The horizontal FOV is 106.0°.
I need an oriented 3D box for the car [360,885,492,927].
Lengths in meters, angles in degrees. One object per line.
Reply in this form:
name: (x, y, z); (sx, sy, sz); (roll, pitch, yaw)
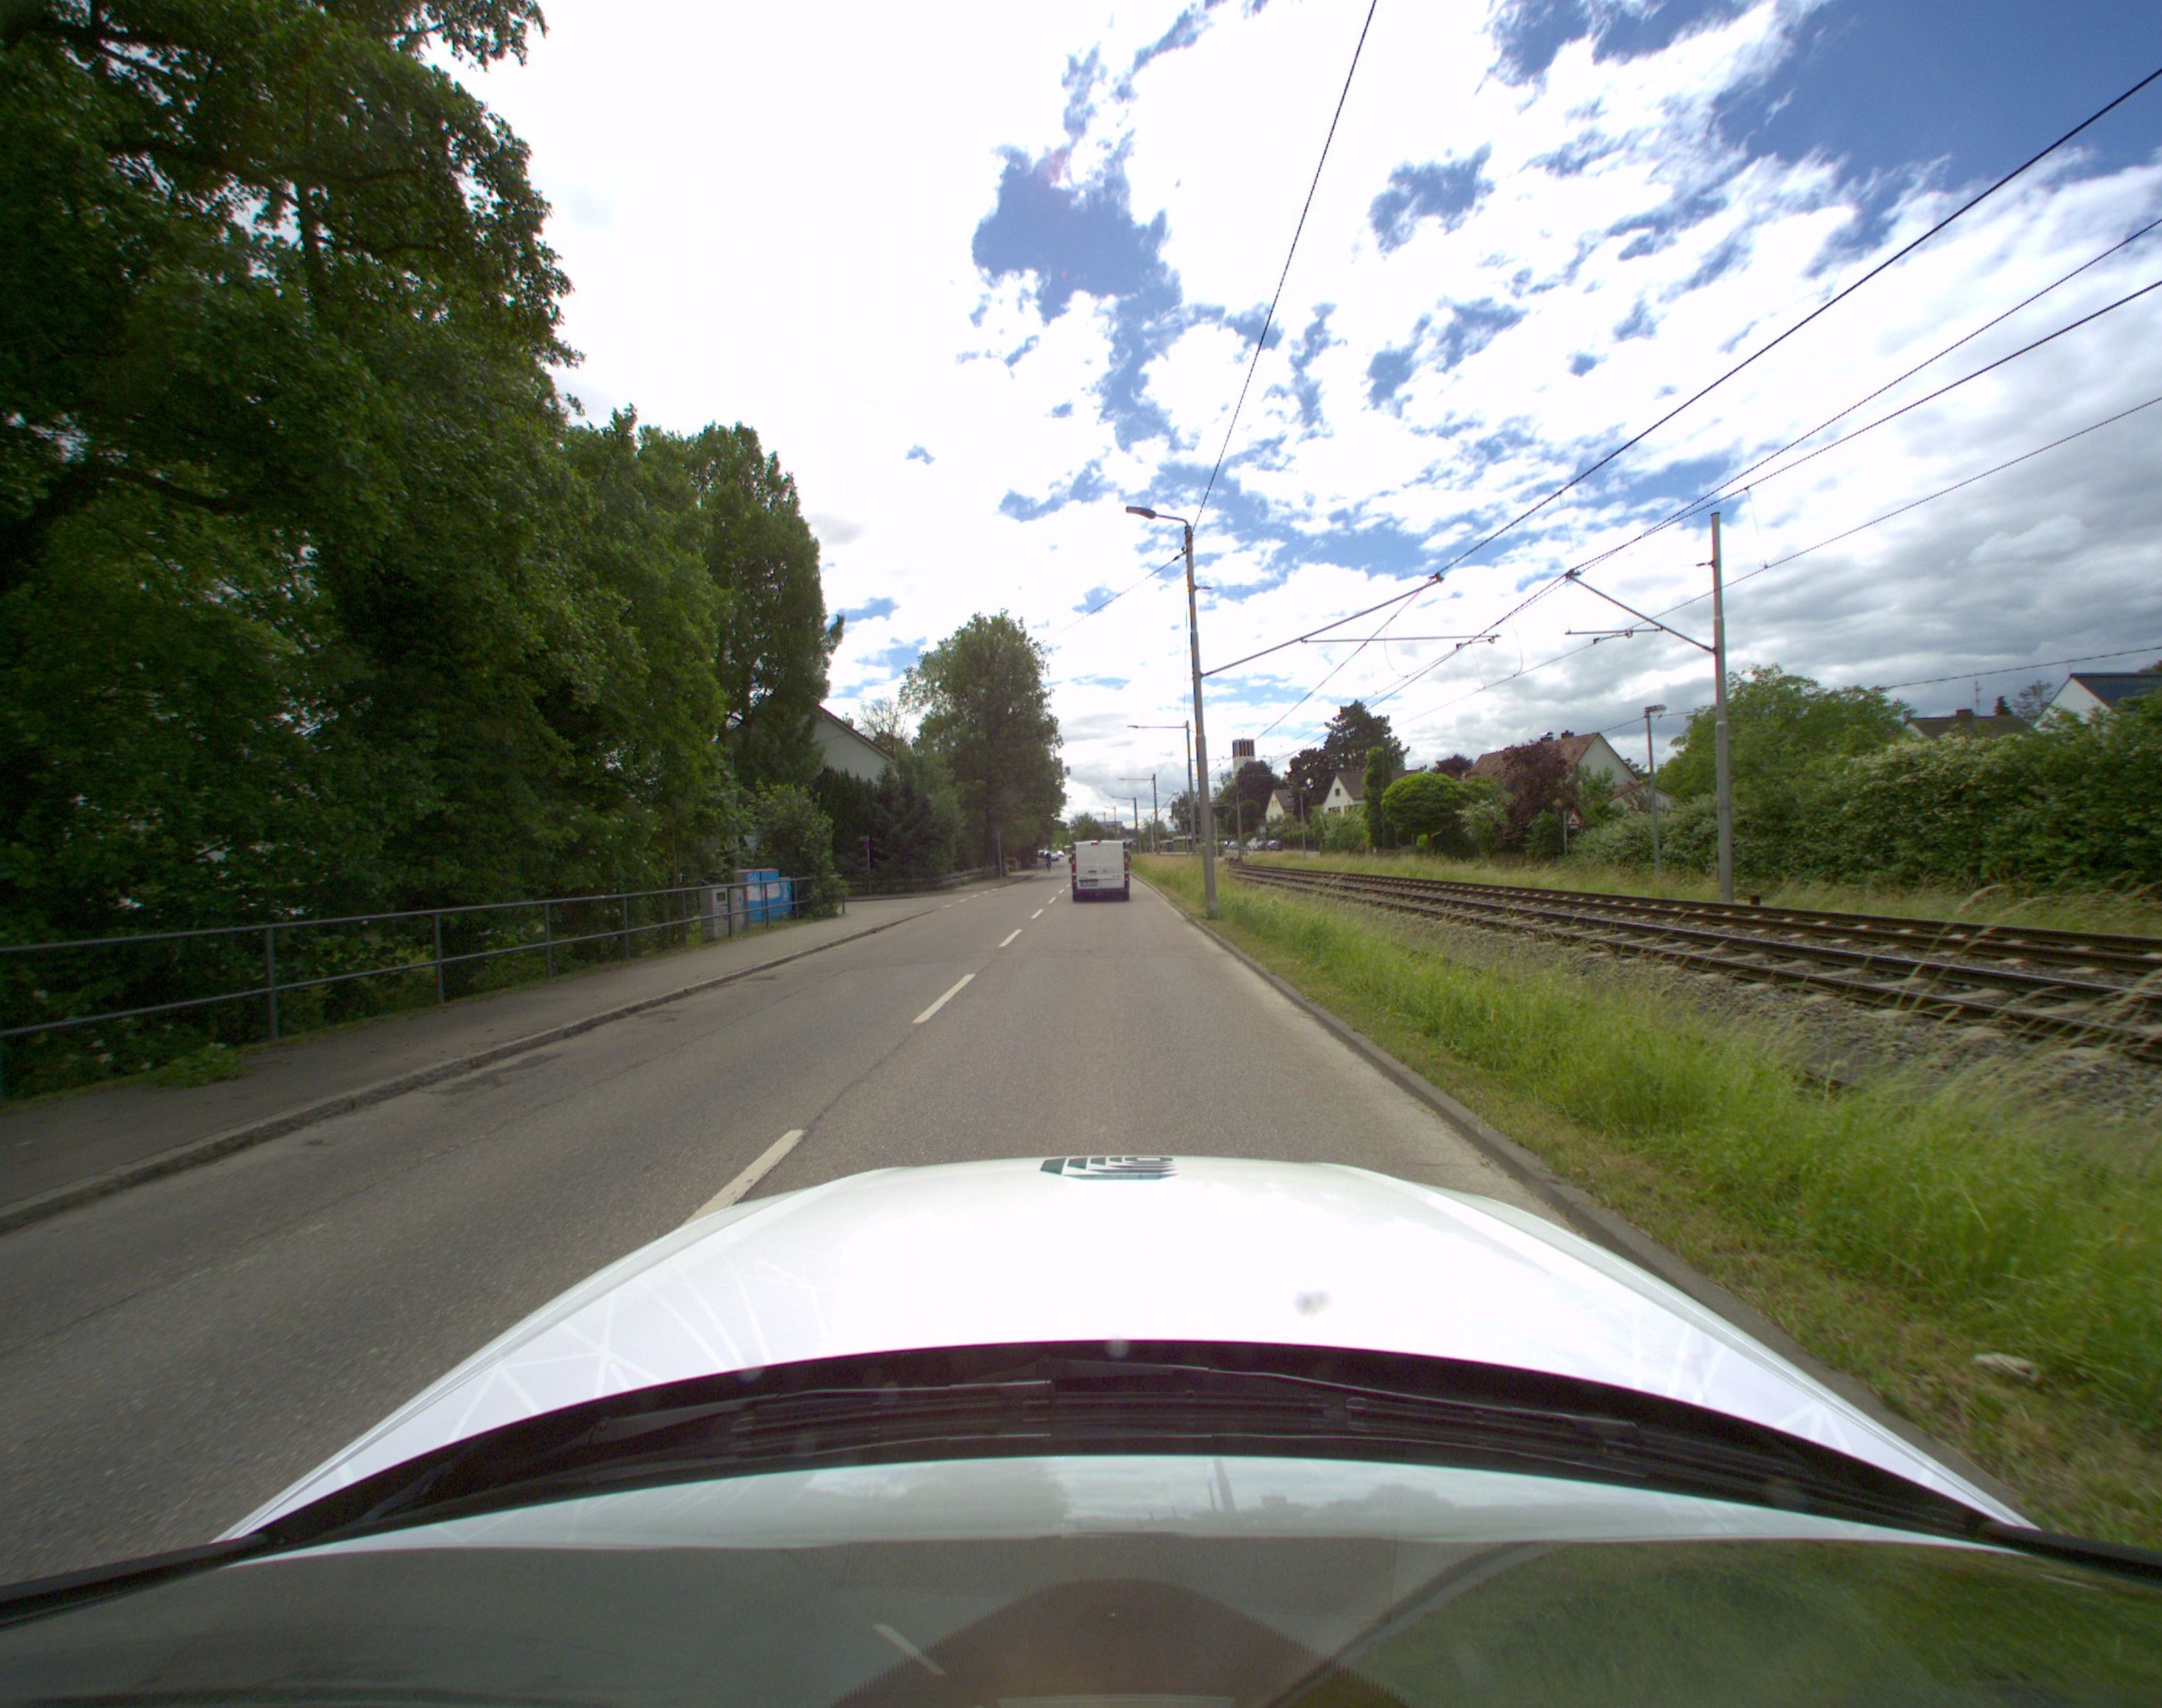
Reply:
car: (-27.079, 2.150, 33.754); (3.966, 1.479, 1.960); (-2, 0, 6)

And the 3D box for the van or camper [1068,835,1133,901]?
van or camper: (0.695, 0.445, 27.694); (1.986, 2.013, 4.447); (-1, 0, 2)

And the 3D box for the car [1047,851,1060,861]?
car: (-4.483, 0.340, 132.165); (1.734, 1.504, 4.470); (-4, 1, -5)

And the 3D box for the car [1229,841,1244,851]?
car: (27.055, -1.363, 141.960); (1.876, 1.522, 4.002); (-3, 0, 2)

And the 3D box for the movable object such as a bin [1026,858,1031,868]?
movable object such as a bin: (-5.510, 0.948, 85.439); (0.512, 0.945, 0.568); (-1, 0, 1)

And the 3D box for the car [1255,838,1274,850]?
car: (25.991, -1.387, 115.441); (1.876, 1.522, 4.002); (-3, 0, 2)

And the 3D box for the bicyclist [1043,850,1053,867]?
bicyclist: (-2.938, 0.398, 73.383); (0.775, 1.549, 0.870); (-3, 0, 1)

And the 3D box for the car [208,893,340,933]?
car: (-34.730, 2.525, 35.094); (3.964, 1.479, 1.961); (-2, 0, 8)

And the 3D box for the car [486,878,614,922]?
car: (-21.554, 1.857, 33.157); (3.972, 1.517, 1.842); (-3, 0, 2)

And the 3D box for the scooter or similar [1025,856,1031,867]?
scooter or similar: (-5.923, 0.832, 90.929); (0.407, 1.199, 1.640); (-3, 0, 2)

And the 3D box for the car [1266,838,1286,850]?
car: (26.139, -1.324, 109.384); (1.876, 1.522, 4.002); (-3, 0, 2)

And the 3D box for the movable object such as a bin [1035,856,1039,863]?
movable object such as a bin: (-6.160, 0.738, 112.797); (0.463, 0.930, 0.428); (1, -1, -16)

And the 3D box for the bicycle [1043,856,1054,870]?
bicycle: (-2.912, 0.789, 73.386); (0.752, 1.226, 2.309); (-4, 0, 1)

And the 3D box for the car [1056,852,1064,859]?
car: (-4.801, 0.429, 183.697); (1.689, 1.430, 3.783); (-5, 0, -2)

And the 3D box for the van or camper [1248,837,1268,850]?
van or camper: (26.109, -1.571, 120.261); (1.898, 1.825, 5.050); (-3, 0, 2)
